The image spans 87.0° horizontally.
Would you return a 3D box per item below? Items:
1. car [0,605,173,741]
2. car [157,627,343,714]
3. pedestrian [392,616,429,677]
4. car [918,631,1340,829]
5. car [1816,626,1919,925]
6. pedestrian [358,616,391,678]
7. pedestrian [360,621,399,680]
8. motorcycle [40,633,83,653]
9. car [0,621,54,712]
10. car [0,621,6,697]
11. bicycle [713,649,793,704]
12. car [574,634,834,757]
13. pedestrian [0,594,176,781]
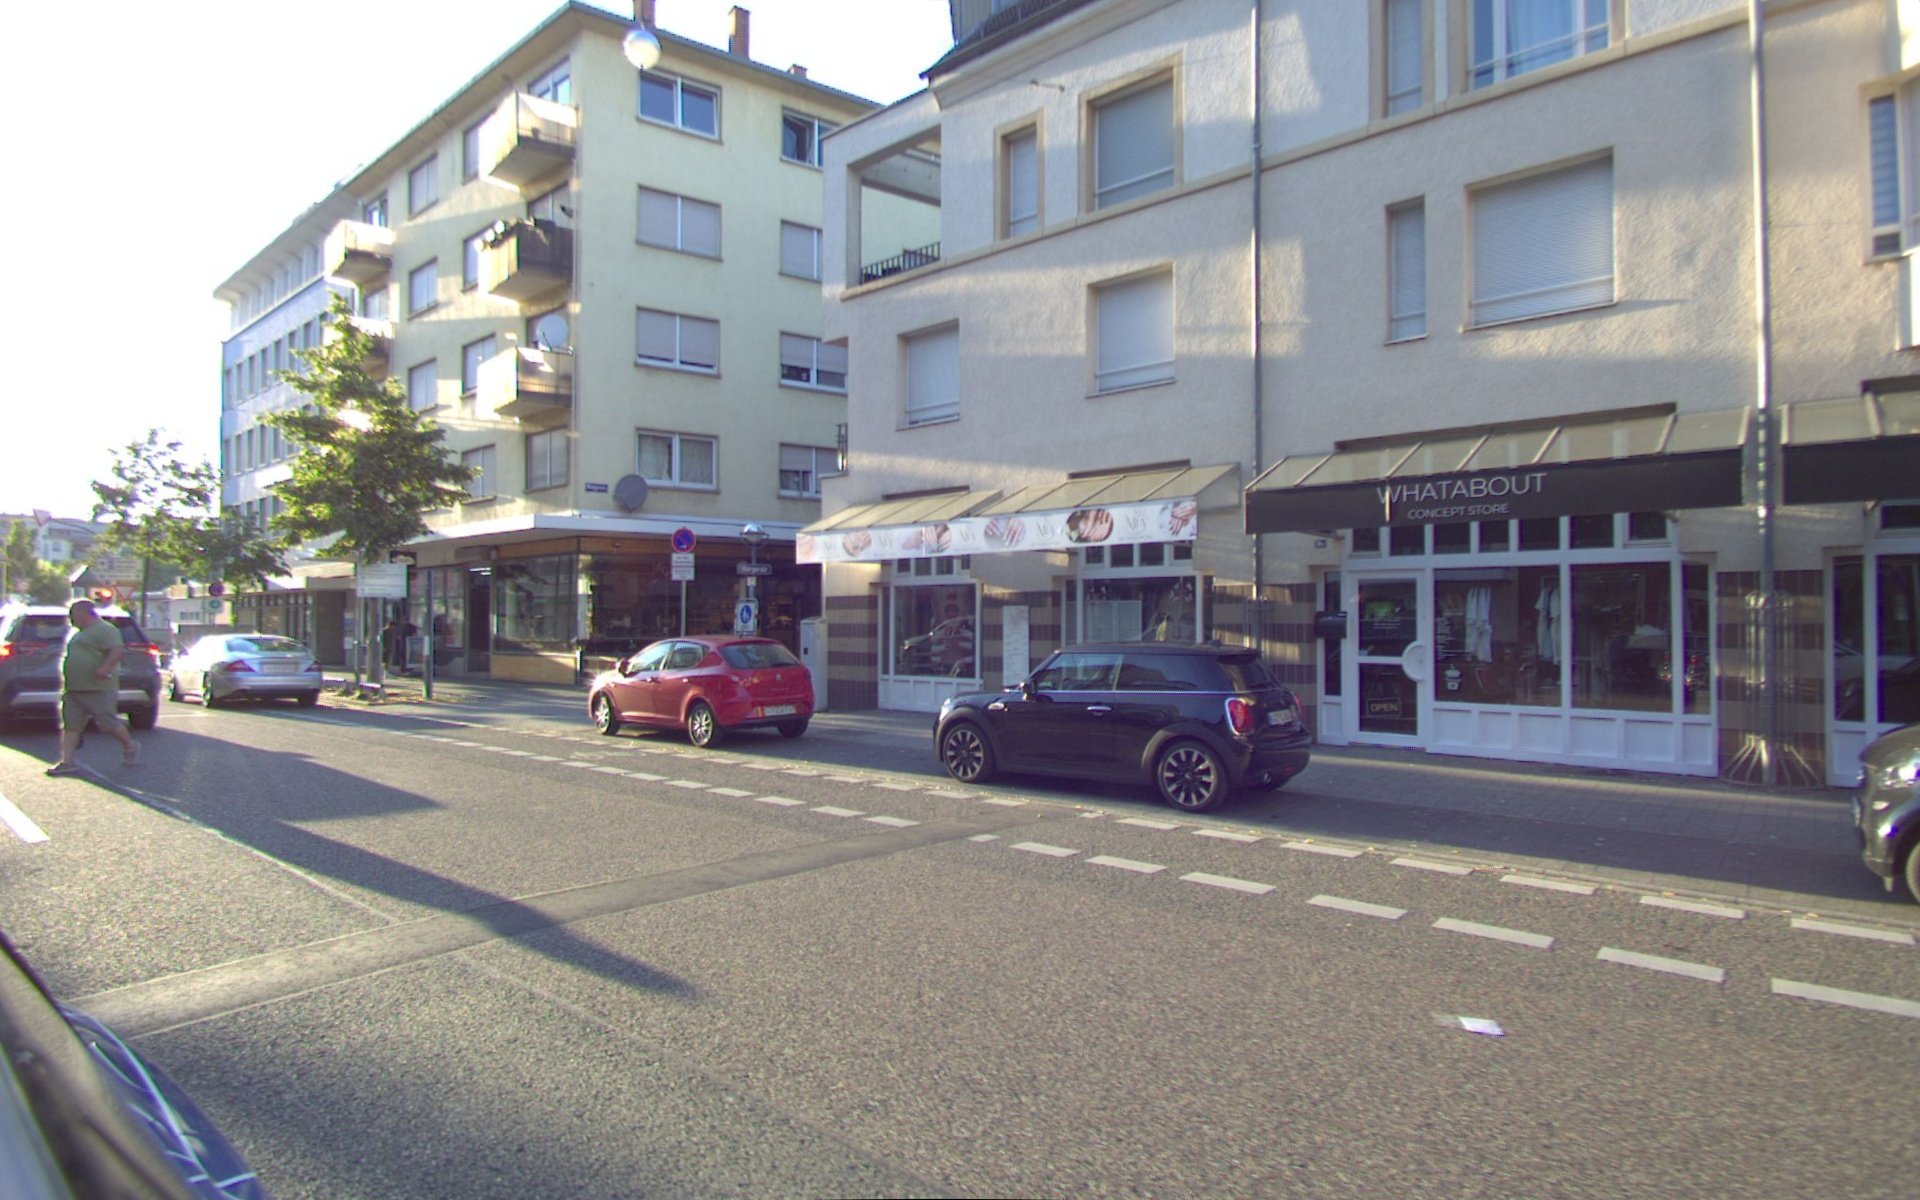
[{"bbox_3d":[-13.004,0.941,14.463,4.737,1.657,1.920,-1,-2,42],"label":"car"},{"bbox_3d":[-14.299,1.361,20.291,4.507,1.523,1.973,-1,-4,41],"label":"car"},{"bbox_3d":[-16.571,1.401,30.531,0.813,1.833,0.732,-3,-3,43],"label":"pedestrian"},{"bbox_3d":[1.523,1.080,9.846,3.723,1.464,1.693,-1,0,41],"label":"car"},{"bbox_3d":[6.552,0.908,5.193,3.185,1.547,1.774,-1,-2,38],"label":"car"},{"bbox_3d":[-17.814,1.428,30.799,0.758,1.862,0.744,1,-3,-39],"label":"pedestrian"},{"bbox_3d":[-16.896,1.471,29.481,0.758,1.689,0.744,0,-1,-7],"label":"pedestrian"},{"bbox_3d":[-67.211,3.195,75.706,2.416,1.376,0.780,0,-2,-44],"label":"motorcycle"},{"bbox_3d":[-18.416,1.177,18.894,4.463,1.561,1.705,-1,-2,42],"label":"car"},{"bbox_3d":[-23.459,1.292,23.166,4.614,1.657,1.925,-1,-2,42],"label":"car"},{"bbox_3d":[-4.209,1.529,20.488,2.016,0.999,0.484,-1,0,43],"label":"bicycle"},{"bbox_3d":[-3.700,1.230,14.310,3.881,1.413,1.644,-1,0,41],"label":"car"},{"bbox_3d":[-8.483,0.820,9.863,0.987,1.689,0.899,0,-3,23],"label":"pedestrian"}]
